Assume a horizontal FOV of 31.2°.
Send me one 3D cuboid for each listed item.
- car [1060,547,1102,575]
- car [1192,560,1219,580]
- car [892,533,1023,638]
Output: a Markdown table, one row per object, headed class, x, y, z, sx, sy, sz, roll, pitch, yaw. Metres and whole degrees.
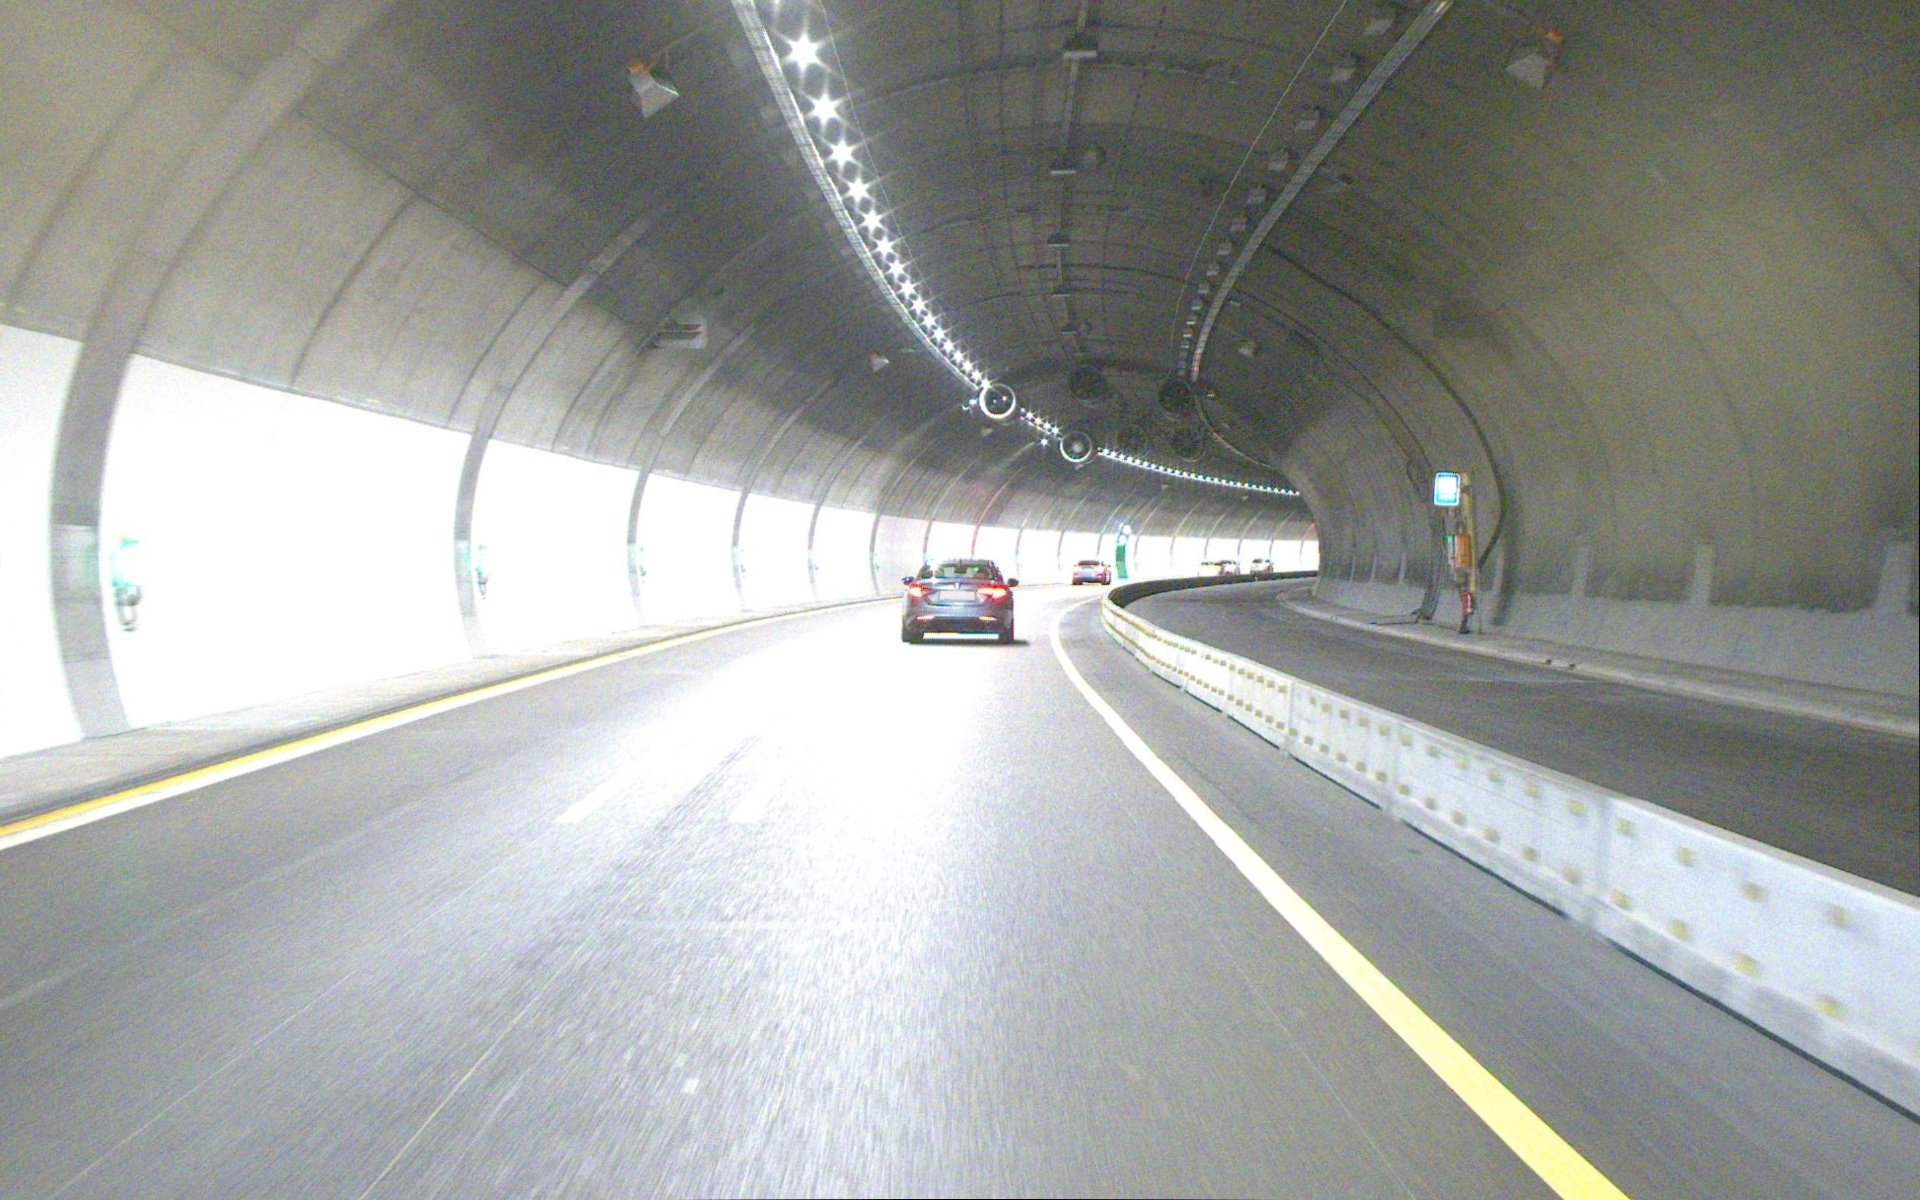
| class | x | y | z | sx | sy | sz | roll | pitch | yaw |
| --- | --- | --- | --- | --- | --- | --- | --- | --- | --- |
| car | 6.743 | -2.168 | 190.867 | 2.165 | 1.481 | 4.000 | 1 | 1 | 4 |
| car | 16.896 | -2.058 | 236.131 | 1.595 | 1.328 | 3.749 | 1 | 1 | 8 |
| car | -0.010 | -0.271 | 58.478 | 2.141 | 1.700 | 4.000 | 1 | 1 | 1 |
